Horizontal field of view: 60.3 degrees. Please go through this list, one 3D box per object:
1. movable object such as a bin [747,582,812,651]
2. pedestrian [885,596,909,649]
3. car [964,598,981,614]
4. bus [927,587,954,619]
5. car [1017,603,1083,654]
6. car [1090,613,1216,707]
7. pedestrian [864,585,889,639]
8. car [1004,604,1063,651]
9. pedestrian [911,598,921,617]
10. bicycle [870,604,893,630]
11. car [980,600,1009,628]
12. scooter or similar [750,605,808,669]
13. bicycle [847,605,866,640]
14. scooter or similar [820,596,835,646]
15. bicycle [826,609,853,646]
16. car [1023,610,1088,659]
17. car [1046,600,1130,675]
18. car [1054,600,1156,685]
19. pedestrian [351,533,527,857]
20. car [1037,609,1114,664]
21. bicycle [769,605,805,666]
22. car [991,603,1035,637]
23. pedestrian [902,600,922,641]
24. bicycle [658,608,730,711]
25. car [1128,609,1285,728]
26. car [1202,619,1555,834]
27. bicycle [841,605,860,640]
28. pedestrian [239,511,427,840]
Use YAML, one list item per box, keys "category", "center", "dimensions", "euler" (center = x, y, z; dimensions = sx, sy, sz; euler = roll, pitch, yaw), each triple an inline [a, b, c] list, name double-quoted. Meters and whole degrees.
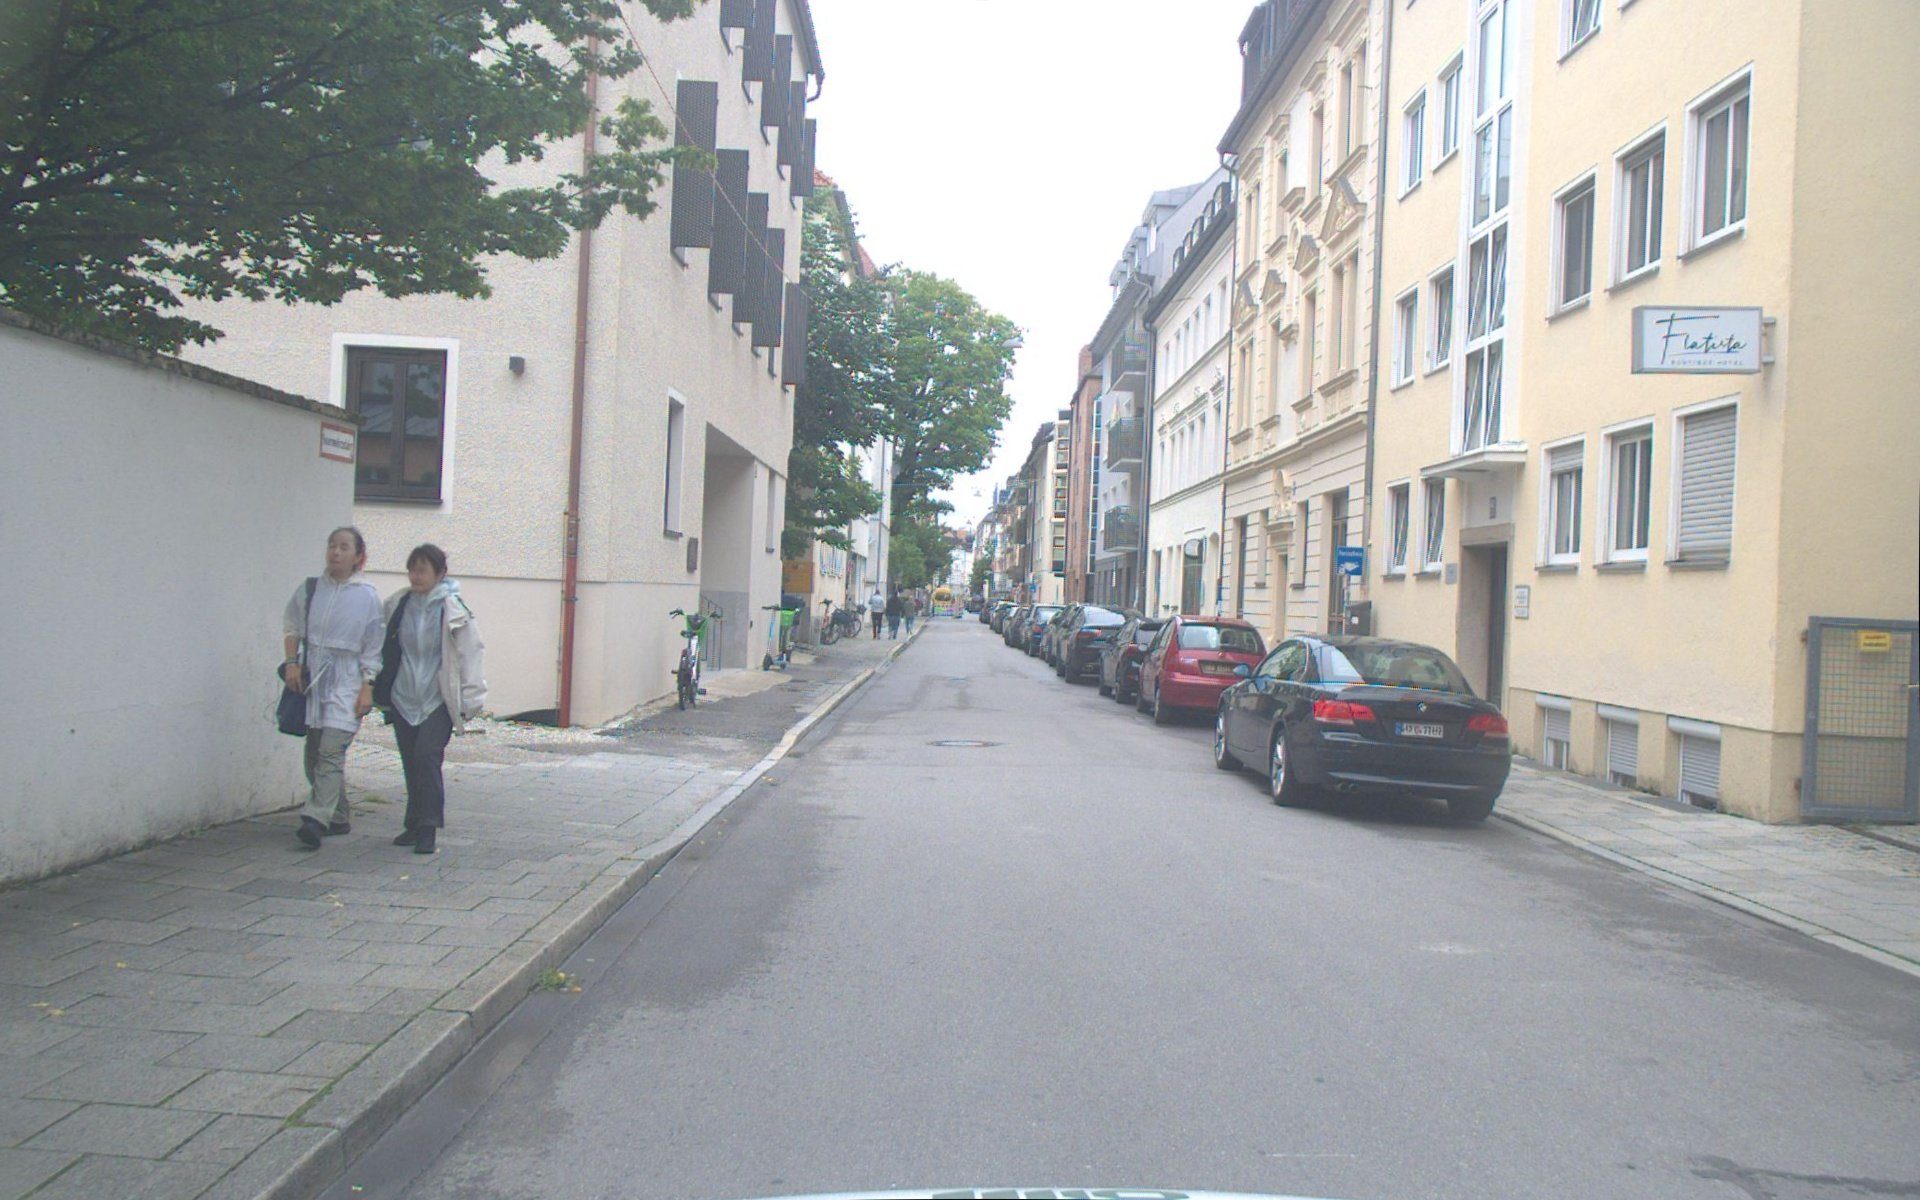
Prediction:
- category: "movable object such as a bin"
  center: [-4.282, 0.383, 39.406]
  dimensions: [1.150, 1.466, 1.249]
  euler: [7, 1, 5]
- category: "pedestrian"
  center: [-2.244, 0.798, 58.666]
  dimensions: [0.704, 1.796, 0.838]
  euler: [4, -1, 0]
- category: "car"
  center: [1.462, 0.705, 199.820]
  dimensions: [1.766, 1.741, 3.825]
  euler: [6, 0, -2]
- category: "bus"
  center: [-1.975, 0.305, 168.001]
  dimensions: [2.540, 3.156, 6.305]
  euler: [2, -1, 0]
- category: "car"
  center: [2.999, 0.933, 55.868]
  dimensions: [1.838, 1.598, 4.314]
  euler: [1, 0, -2]
- category: "car"
  center: [3.296, 0.989, 28.889]
  dimensions: [1.642, 1.417, 4.065]
  euler: [3, 0, -1]
- category: "pedestrian"
  center: [-2.936, 0.423, 58.309]
  dimensions: [0.704, 1.828, 0.917]
  euler: [4, -1, 0]
- category: "car"
  center: [2.653, 0.995, 60.749]
  dimensions: [1.802, 1.555, 4.291]
  euler: [3, 0, -1]
- category: "pedestrian"
  center: [-3.521, 0.630, 132.491]
  dimensions: [0.740, 1.517, 0.831]
  euler: [2, -1, 0]
- category: "bicycle"
  center: [-3.884, 0.834, 81.785]
  dimensions: [0.631, 1.239, 1.655]
  euler: [2, -1, -19]
- category: "car"
  center: [2.538, 1.017, 122.096]
  dimensions: [1.766, 1.851, 3.998]
  euler: [6, 0, -2]
- category: "scooter or similar"
  center: [-3.475, 0.710, 31.836]
  dimensions: [0.540, 1.163, 1.359]
  euler: [5, -1, 16]
- category: "bicycle"
  center: [-3.700, 0.796, 58.823]
  dimensions: [0.551, 1.179, 1.718]
  euler: [3, -1, -6]
- category: "scooter or similar"
  center: [-3.779, 0.586, 47.233]
  dimensions: [0.311, 1.400, 1.239]
  euler: [2, -1, -1]
- category: "bicycle"
  center: [-3.572, 0.799, 48.966]
  dimensions: [0.690, 1.001, 1.821]
  euler: [7, -1, -4]
- category: "car"
  center: [2.901, 1.042, 50.947]
  dimensions: [1.771, 1.387, 3.945]
  euler: [2, 0, 0]
- category: "car"
  center: [3.143, 0.894, 41.270]
  dimensions: [1.642, 1.690, 4.512]
  euler: [3, 0, -1]
- category: "car"
  center: [3.053, 0.854, 35.587]
  dimensions: [1.667, 1.635, 4.684]
  euler: [3, 0, -1]
- category: "pedestrian"
  center: [-2.740, 0.484, 8.760]
  dimensions: [0.610, 1.606, 0.714]
  euler: [4, -1, -1]
- category: "car"
  center: [3.194, 0.991, 46.413]
  dimensions: [1.763, 1.410, 4.348]
  euler: [2, 0, -1]
- category: "bicycle"
  center: [-3.535, 0.714, 33.901]
  dimensions: [0.533, 1.181, 1.881]
  euler: [4, 0, -2]
- category: "car"
  center: [2.716, 1.013, 85.556]
  dimensions: [1.848, 1.582, 4.389]
  euler: [3, 0, -2]
- category: "pedestrian"
  center: [-2.086, 0.893, 71.917]
  dimensions: [0.738, 1.687, 0.906]
  euler: [4, -1, 0]
- category: "bicycle"
  center: [-3.236, 0.699, 20.263]
  dimensions: [0.527, 1.158, 1.916]
  euler: [4, 0, -1]
- category: "car"
  center: [3.545, 0.941, 24.355]
  dimensions: [1.642, 1.518, 3.853]
  euler: [3, 0, -1]
- category: "car"
  center: [3.455, 0.973, 14.589]
  dimensions: [1.789, 1.357, 4.508]
  euler: [6, 0, -1]
- category: "bicycle"
  center: [-3.765, 0.776, 57.107]
  dimensions: [0.448, 1.179, 1.605]
  euler: [5, -1, 1]
- category: "pedestrian"
  center: [-3.341, 0.391, 8.871]
  dimensions: [0.601, 1.649, 0.687]
  euler: [5, -1, 0]
